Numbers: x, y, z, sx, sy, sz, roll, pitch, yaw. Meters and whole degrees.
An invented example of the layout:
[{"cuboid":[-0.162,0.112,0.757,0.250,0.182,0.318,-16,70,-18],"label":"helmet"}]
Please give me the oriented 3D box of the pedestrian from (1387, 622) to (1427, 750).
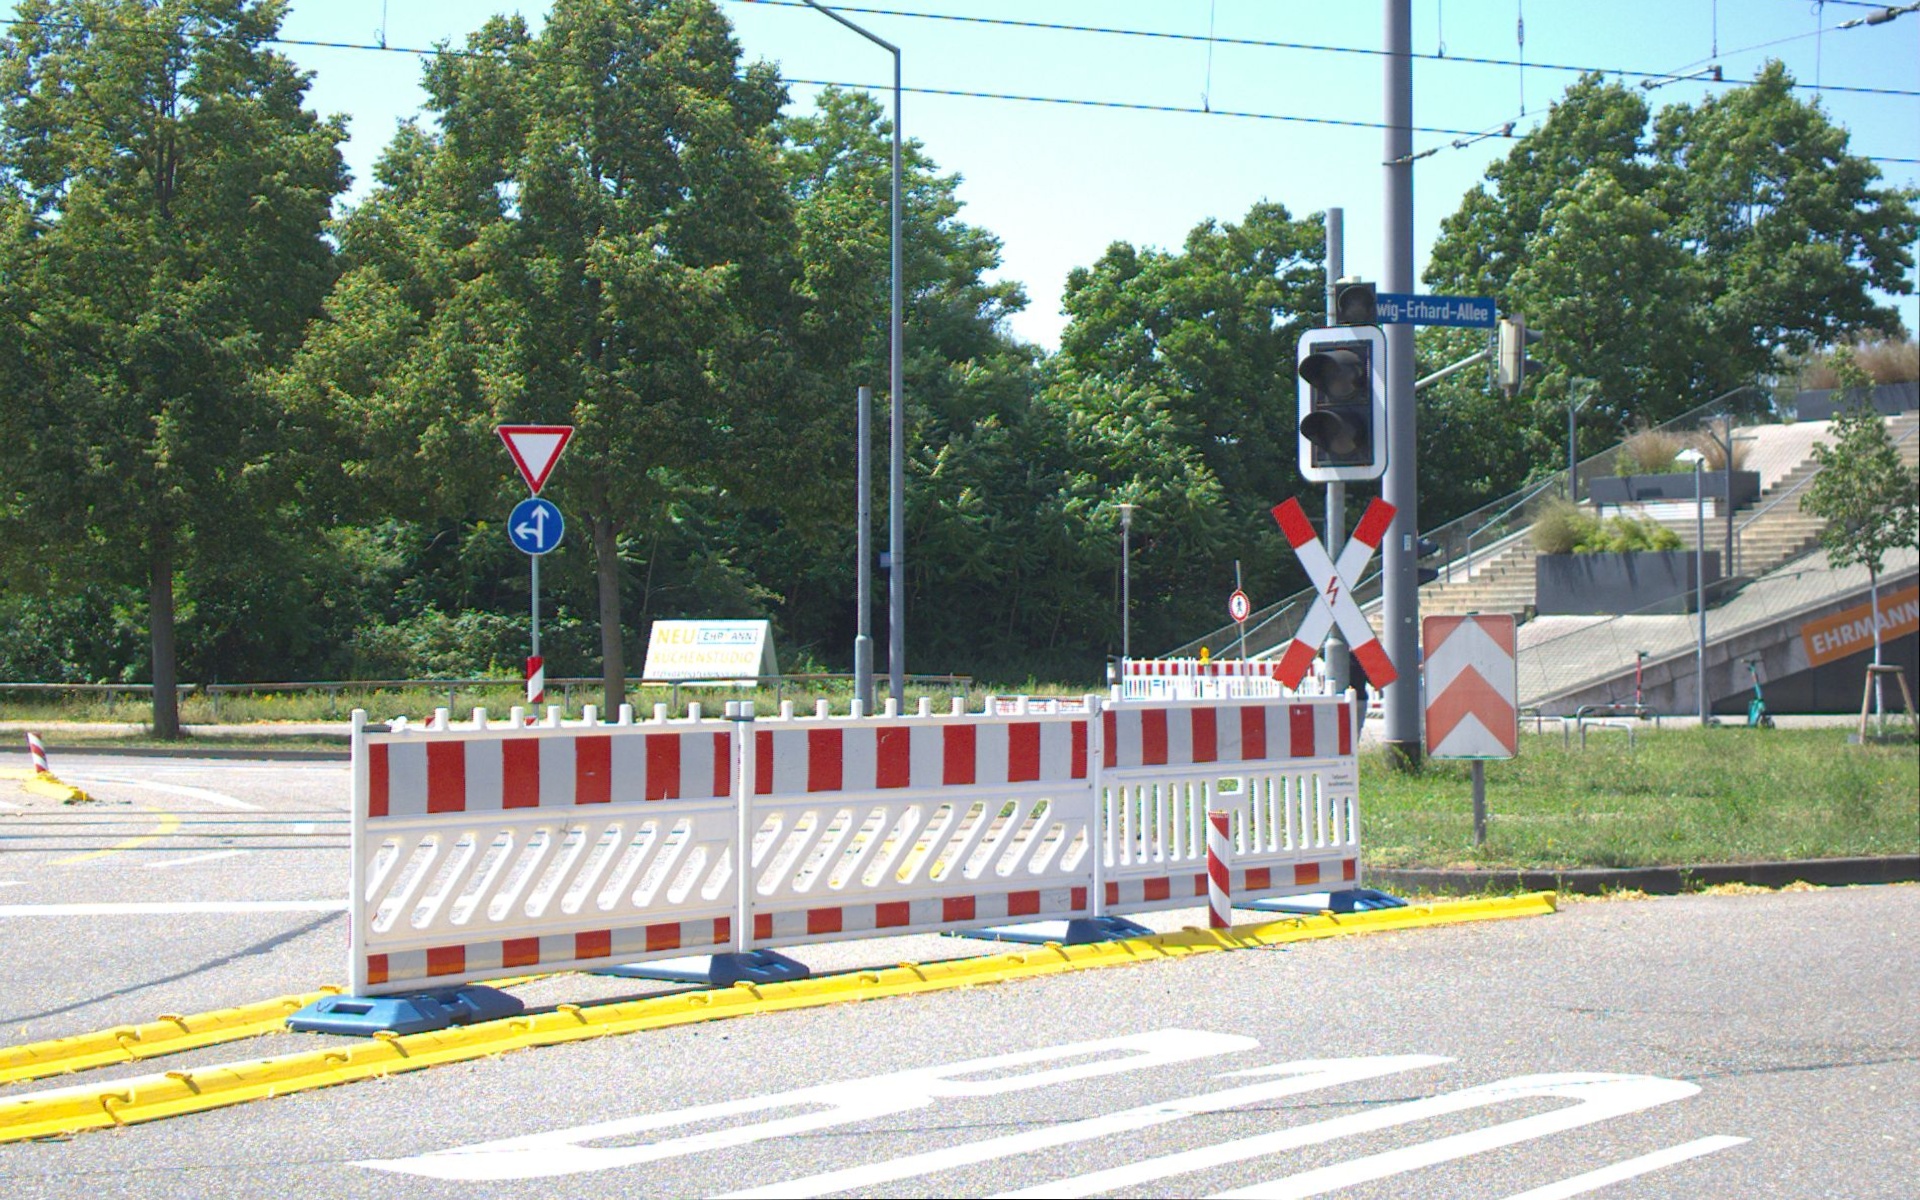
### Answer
[{"cuboid":[6.064,1.161,46.672,0.447,1.733,0.291,1,-1,-17],"label":"pedestrian"}]
